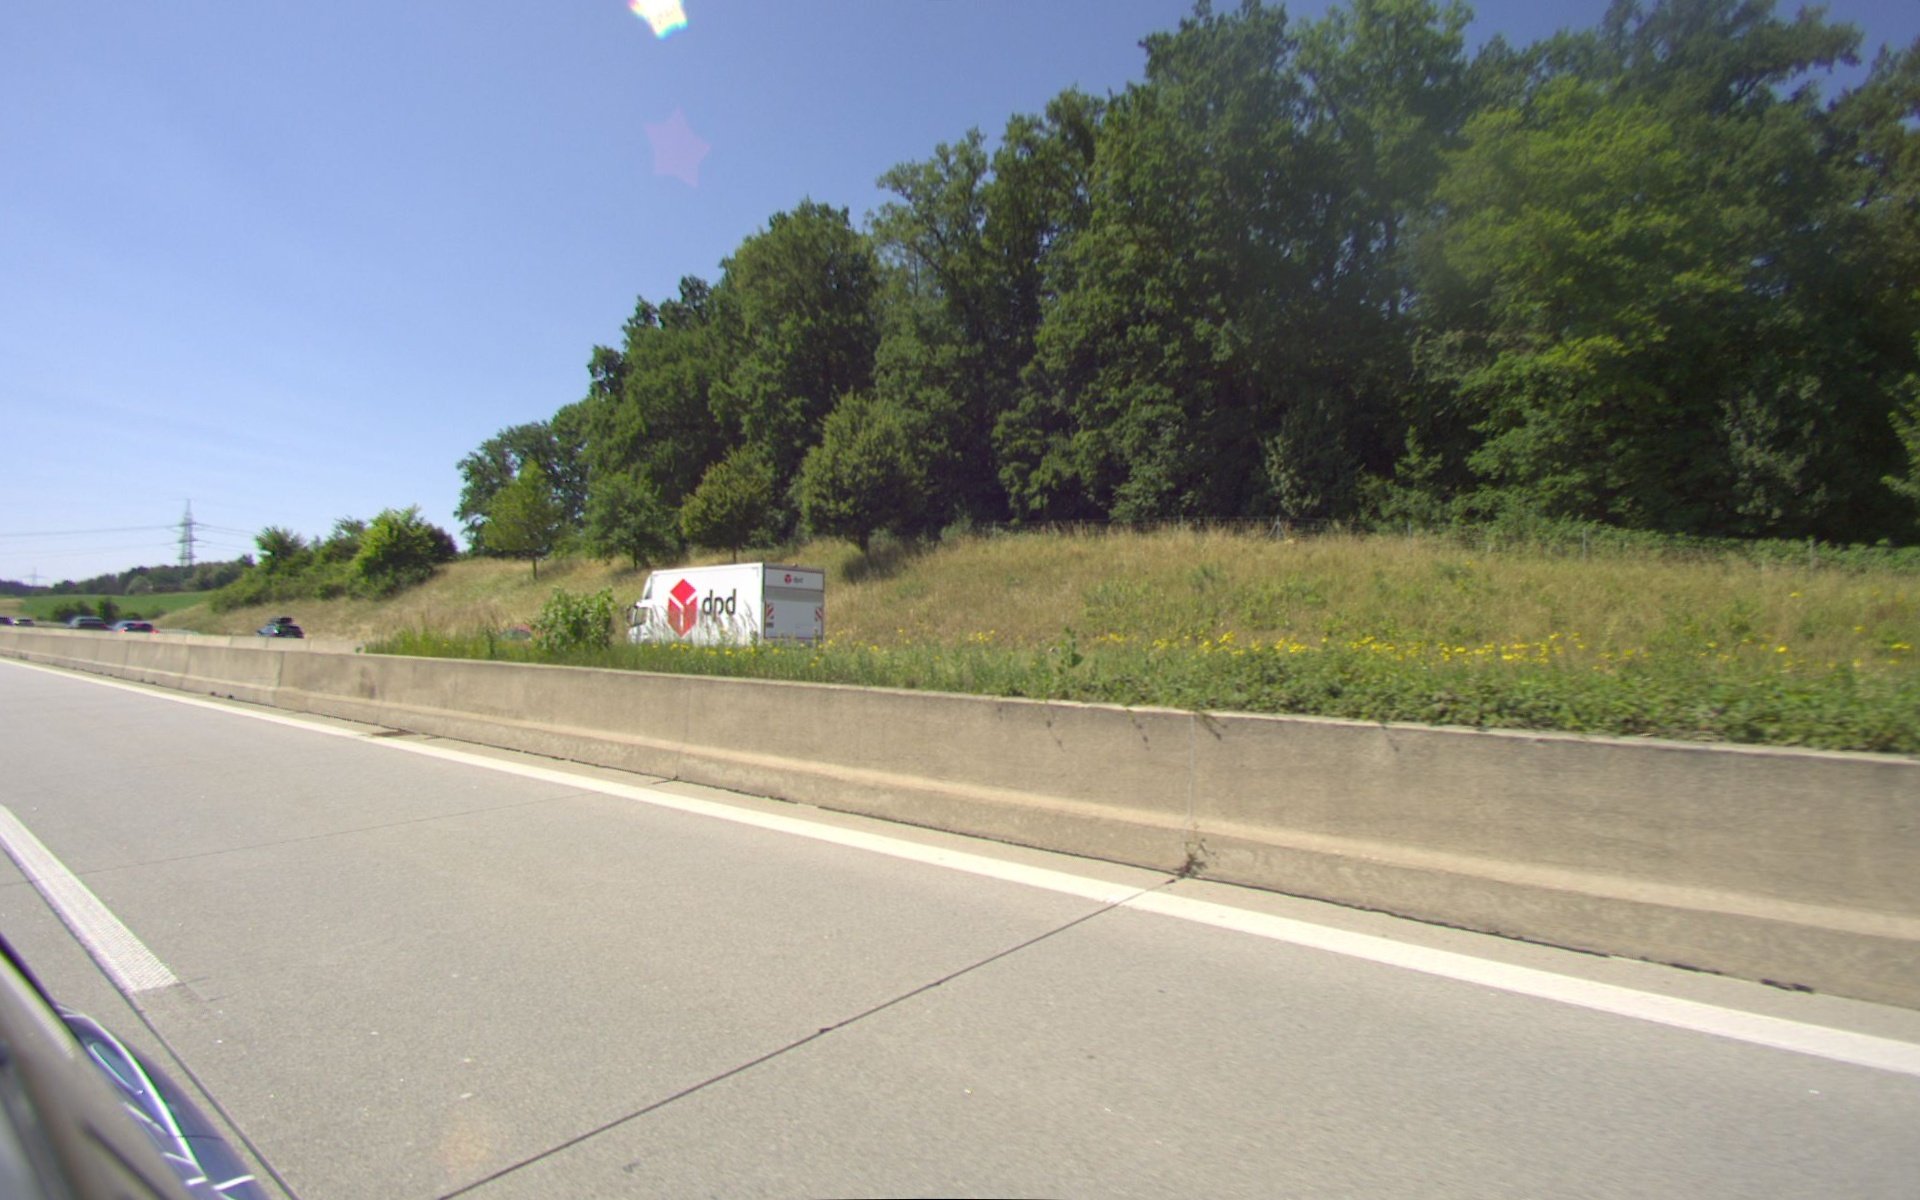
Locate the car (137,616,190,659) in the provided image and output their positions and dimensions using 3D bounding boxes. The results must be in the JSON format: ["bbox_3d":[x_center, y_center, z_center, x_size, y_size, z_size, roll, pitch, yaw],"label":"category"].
[{"bbox_3d":[-39.845,1.826,50.602,3.150,2.029,1.506,-1,0,41],"label":"car"}]

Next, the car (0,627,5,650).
[{"bbox_3d":[-90.790,3.629,94.933,3.150,2.029,1.506,-1,0,41],"label":"car"}]

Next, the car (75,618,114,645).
[{"bbox_3d":[-57.013,2.049,66.639,3.150,1.654,1.506,-1,0,41],"label":"car"}]

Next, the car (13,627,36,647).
[{"bbox_3d":[-101.066,4.008,109.326,3.150,2.029,1.506,-1,0,41],"label":"car"}]

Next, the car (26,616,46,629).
[{"bbox_3d":[-145.342,3.532,159.177,3.998,2.029,1.973,-1,0,41],"label":"car"}]

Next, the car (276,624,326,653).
[{"bbox_3d":[-38.376,2.213,58.885,3.134,1.584,1.598,-1,2,41],"label":"car"}]

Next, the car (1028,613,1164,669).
[{"bbox_3d":[3.871,1.152,29.190,3.626,1.411,1.482,-2,2,40],"label":"car"}]

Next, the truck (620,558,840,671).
[{"bbox_3d":[-7.883,0.512,33.898,8.256,3.378,2.864,-1,-2,41],"label":"truck"}]

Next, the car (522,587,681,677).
[{"bbox_3d":[-8.857,0.742,24.873,3.998,2.029,1.973,-1,0,41],"label":"car"}]
